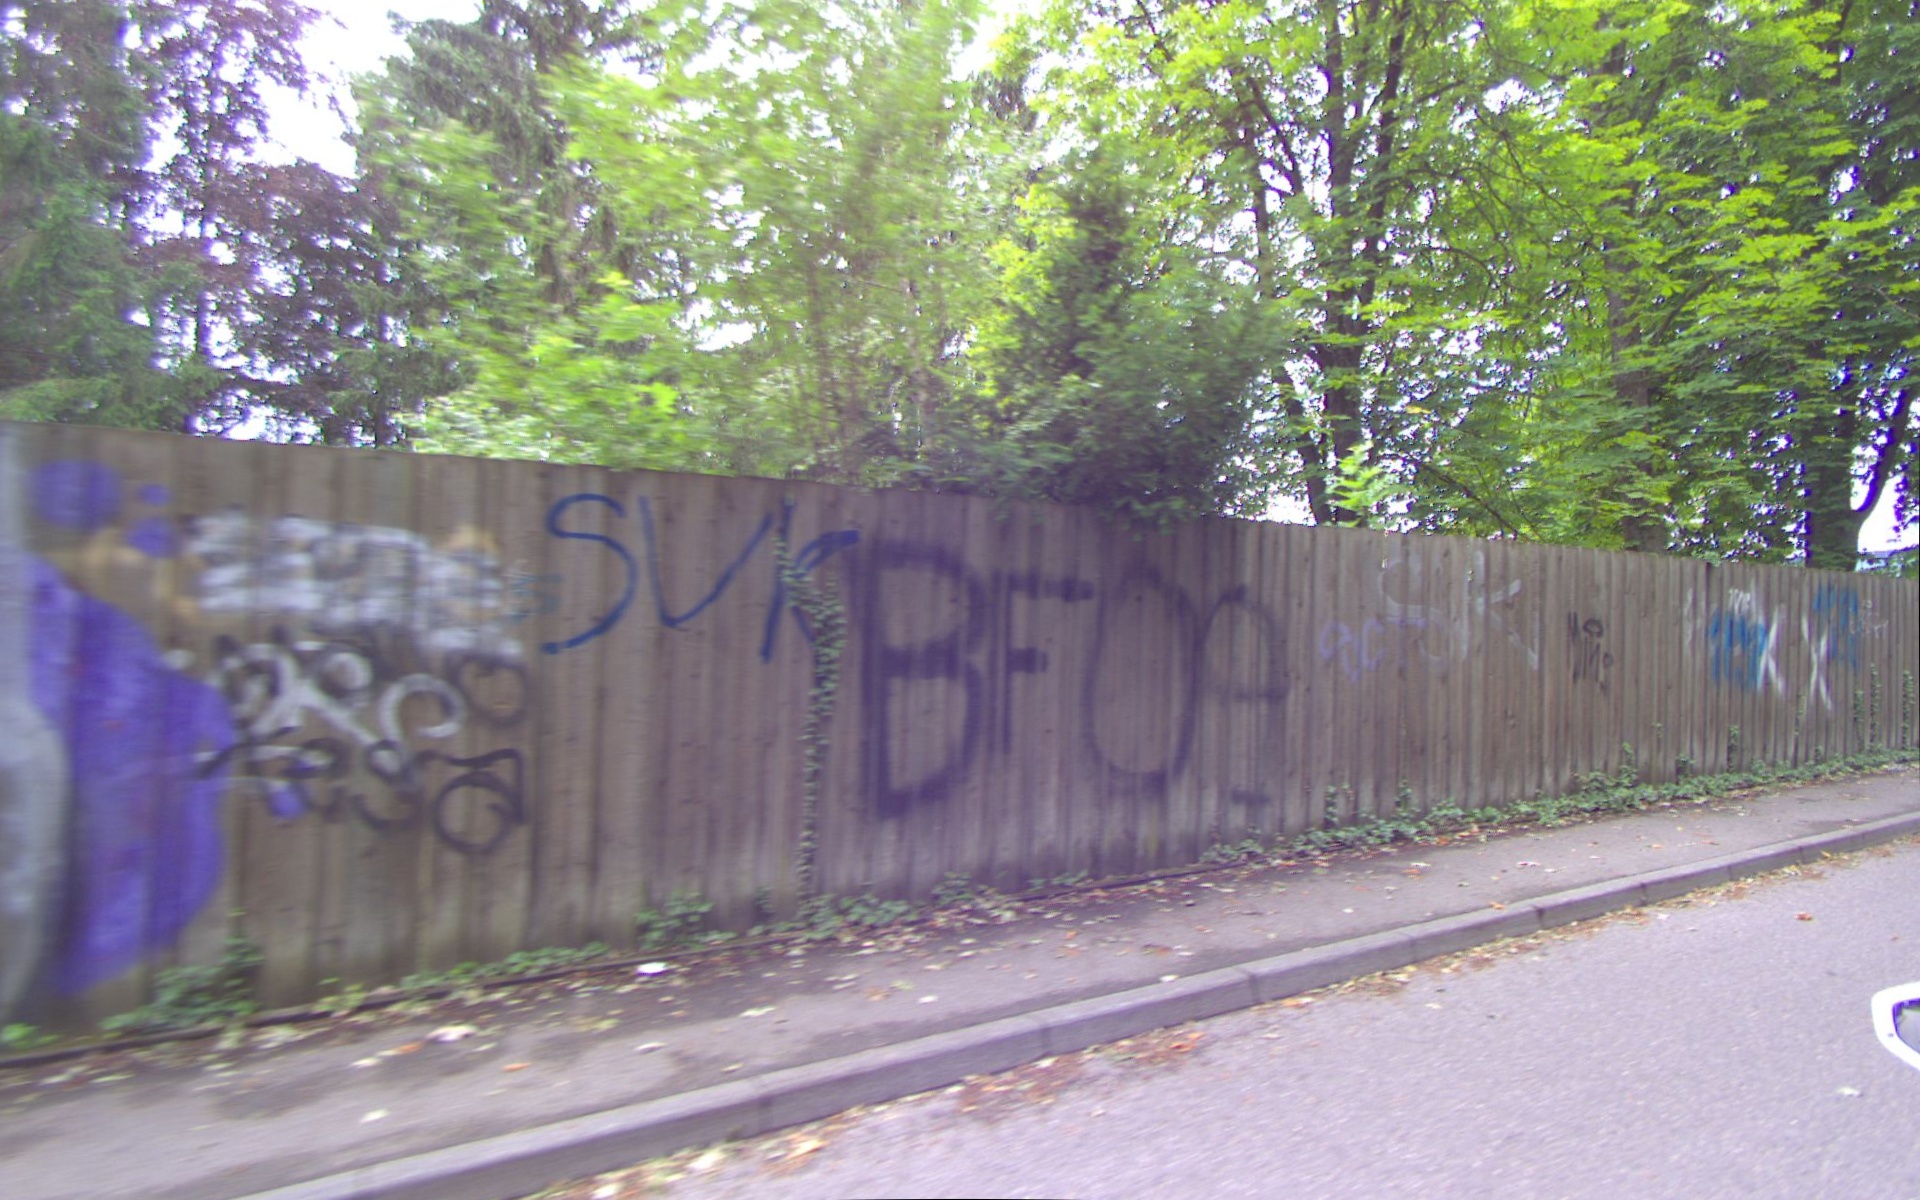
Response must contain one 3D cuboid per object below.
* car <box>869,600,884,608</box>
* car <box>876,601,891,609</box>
[{"bbox_3d":[-20.729,0.990,248.851,1.979,1.594,3.964,1,-4,-34],"label":"car"},{"bbox_3d":[-19.156,1.257,250.841,1.979,1.594,3.963,2,-3,-34],"label":"car"}]
